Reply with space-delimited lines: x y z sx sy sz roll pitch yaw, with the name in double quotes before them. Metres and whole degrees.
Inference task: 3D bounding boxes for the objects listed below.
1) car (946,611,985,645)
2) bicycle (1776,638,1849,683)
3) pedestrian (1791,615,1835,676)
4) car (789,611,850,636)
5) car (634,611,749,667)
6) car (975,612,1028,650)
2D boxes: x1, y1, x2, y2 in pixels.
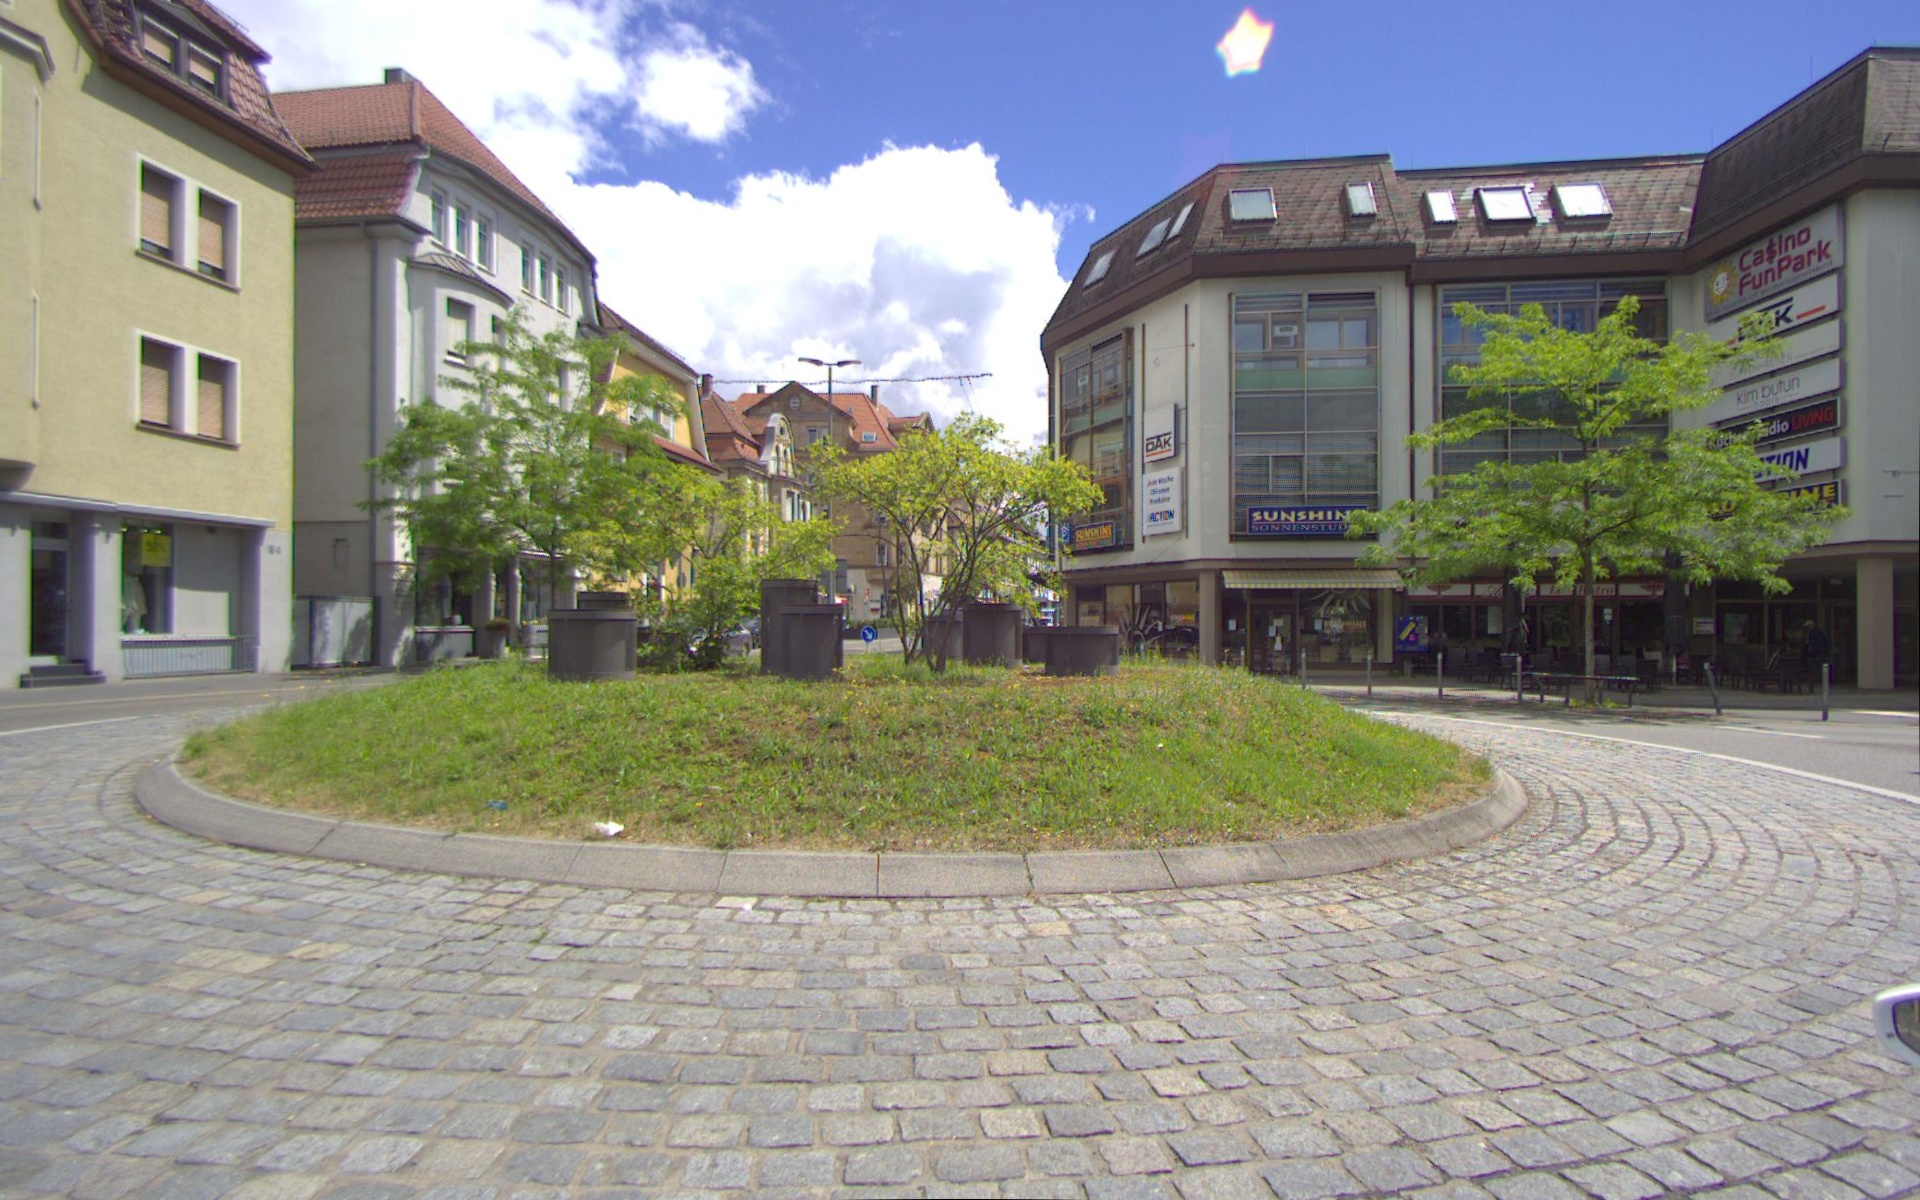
"car" 0.344 1.529 54.936 1.793 1.729 4.442 2 -1 4
"bicycle" 23.818 1.682 28.065 1.522 1.183 0.493 1 -1 44
"pedestrian" 23.992 1.277 28.259 0.684 1.697 0.617 1 0 -1
"car" -10.297 1.738 73.838 4.349 1.799 1.998 1 -1 -6
"car" -7.220 1.013 27.414 1.680 1.372 4.002 0 0 7
"car" 2.110 1.505 49.666 1.793 1.754 4.235 -1 -1 13
